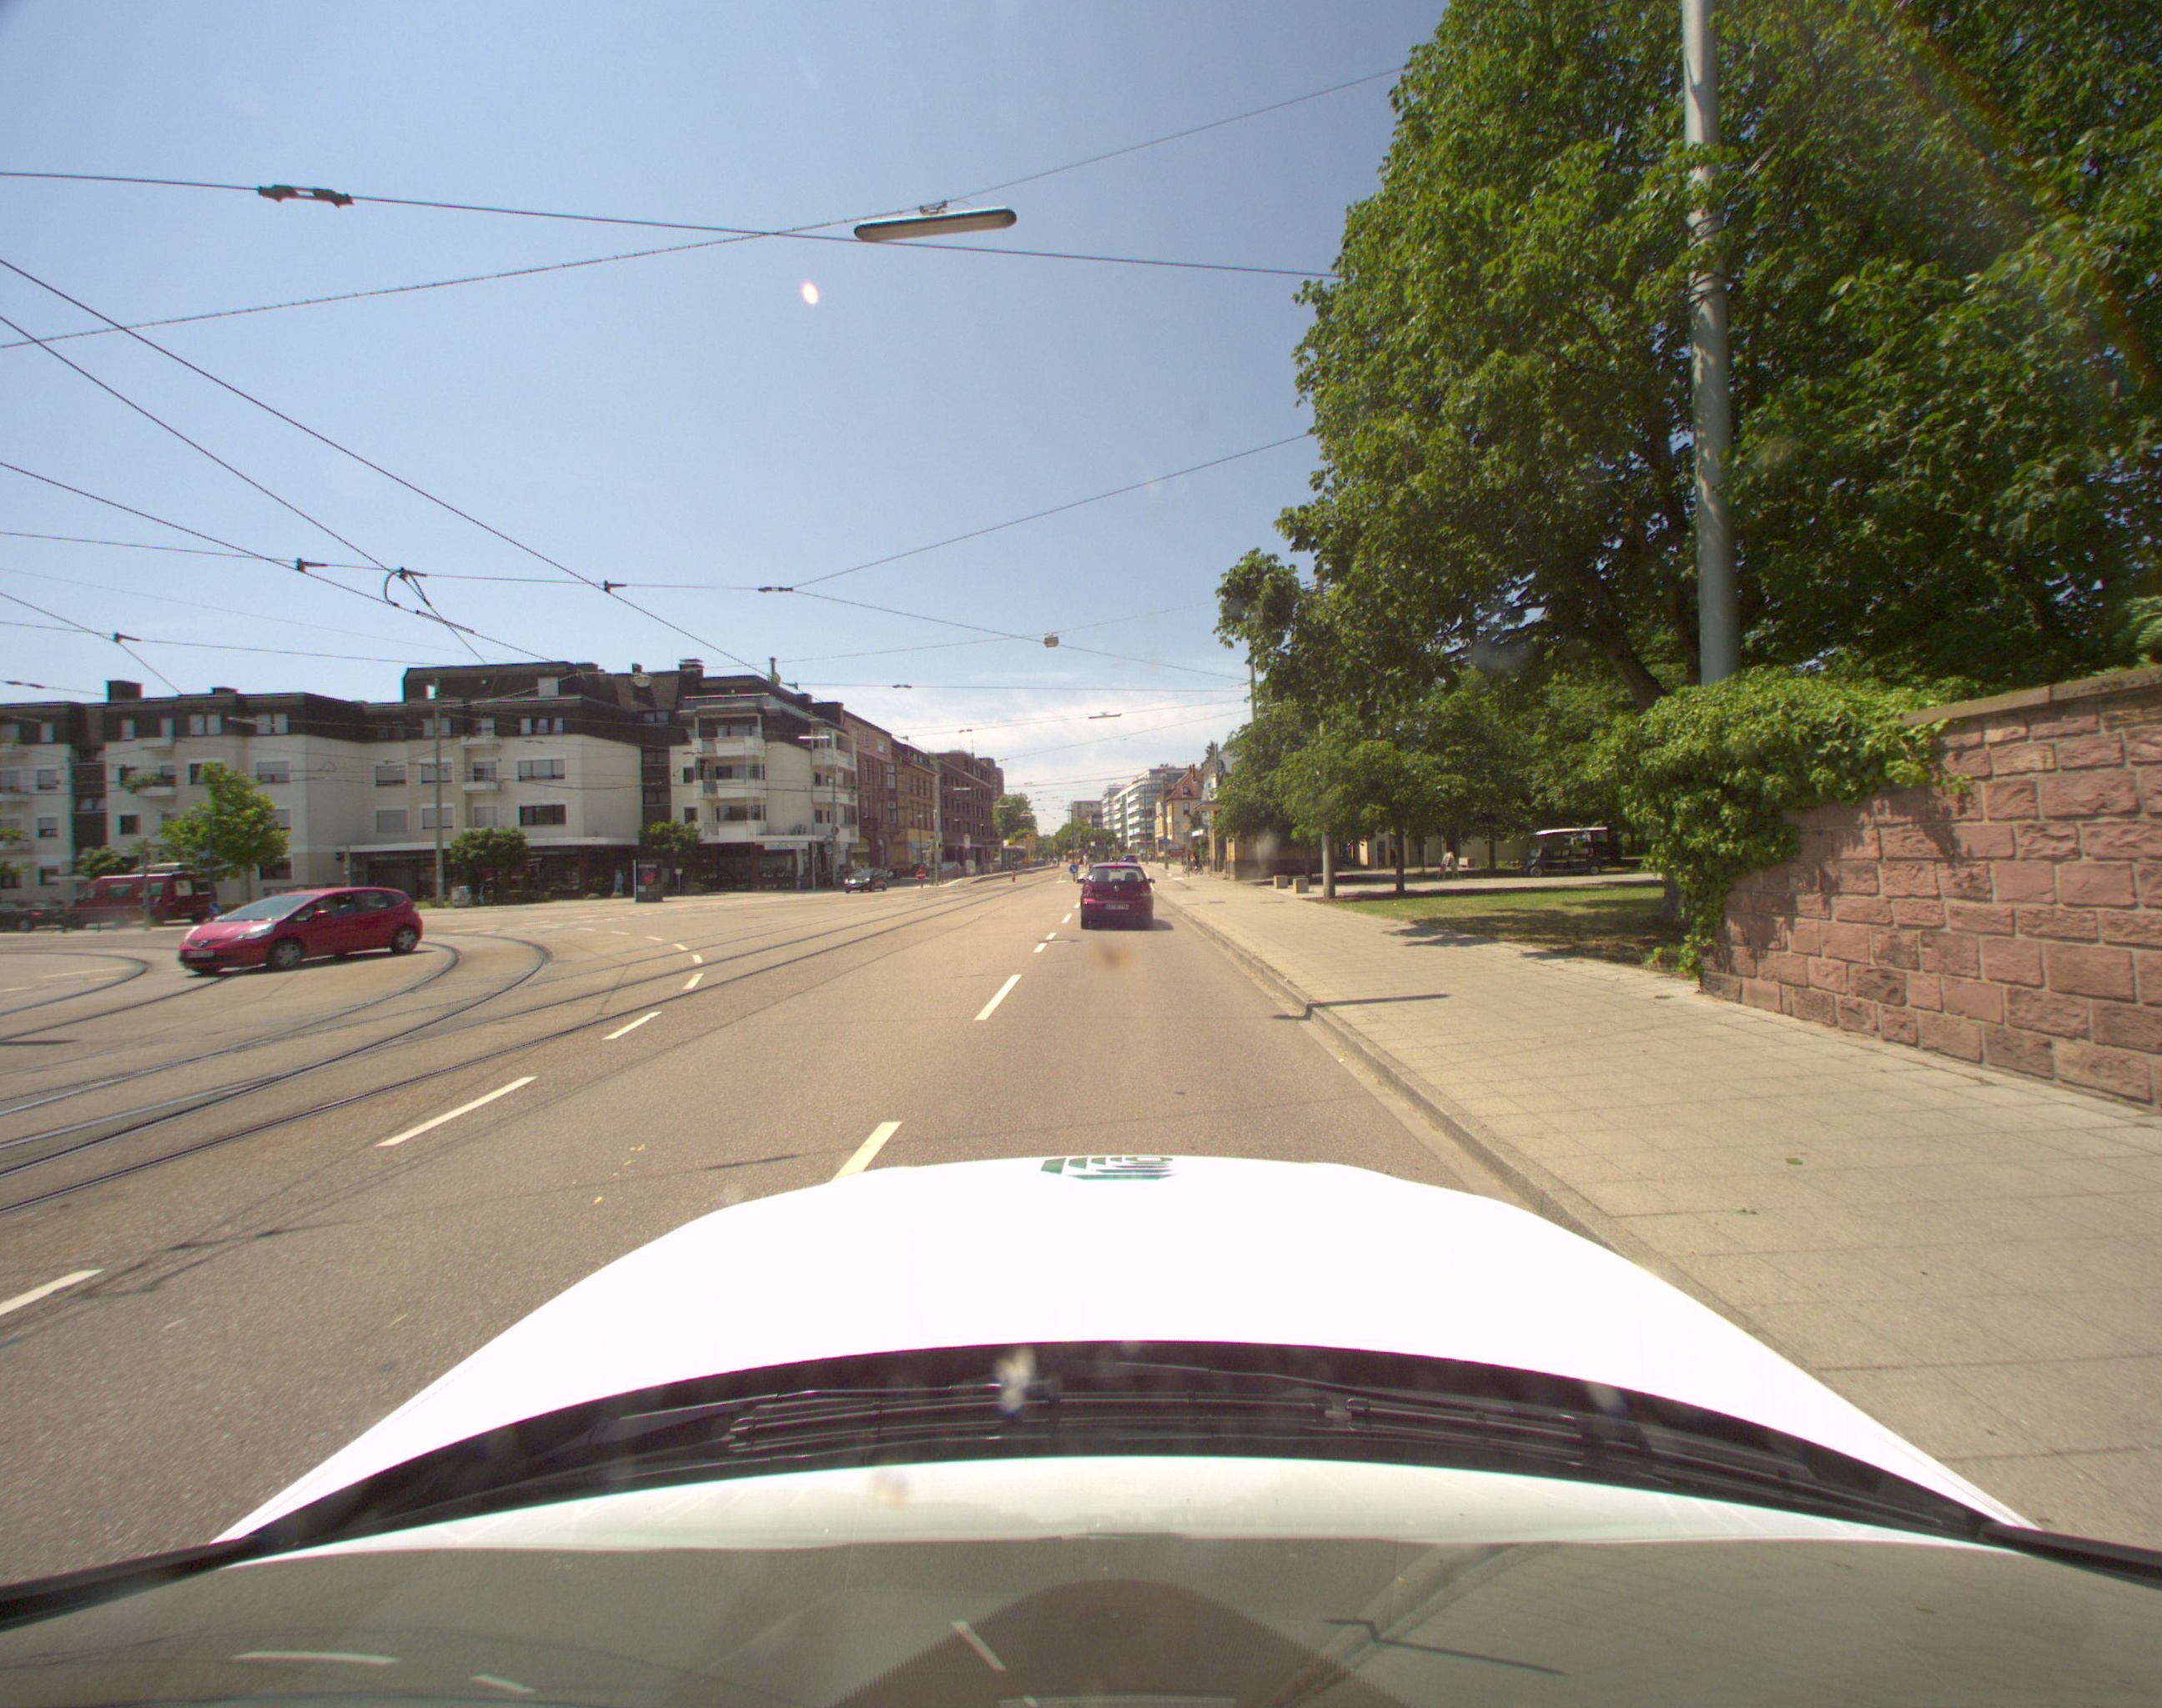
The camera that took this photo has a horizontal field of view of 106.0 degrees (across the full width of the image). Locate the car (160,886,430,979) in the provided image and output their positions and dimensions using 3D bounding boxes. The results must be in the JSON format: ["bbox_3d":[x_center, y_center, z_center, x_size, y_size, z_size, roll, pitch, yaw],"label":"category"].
[{"bbox_3d":[-15.802,1.506,16.699,1.617,1.484,3.833,-2,0,4],"label":"car"}]

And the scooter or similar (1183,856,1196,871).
[{"bbox_3d":[8.961,0.768,67.279,0.340,1.178,1.457,-2,-1,-21],"label":"scooter or similar"}]

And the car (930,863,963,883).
[{"bbox_3d":[-12.264,1.718,74.412,1.785,1.579,4.501,-3,0,5],"label":"car"}]

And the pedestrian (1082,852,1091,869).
[{"bbox_3d":[0.576,0.669,83.022,0.760,1.674,1.101,-2,0,4],"label":"pedestrian"}]

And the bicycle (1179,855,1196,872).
[{"bbox_3d":[8.285,0.747,63.315,0.372,1.197,1.917,-3,0,34],"label":"bicycle"}]

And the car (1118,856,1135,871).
[{"bbox_3d":[5.544,1.162,99.294,1.986,1.624,4.634,-2,0,2],"label":"car"}]

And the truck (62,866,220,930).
[{"bbox_3d":[-44.604,2.036,38.719,5.005,2.698,2.189,-3,0,3],"label":"truck"}]

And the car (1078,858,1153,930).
[{"bbox_3d":[0.802,0.865,18.972,1.555,1.453,3.063,-2,0,2],"label":"car"}]

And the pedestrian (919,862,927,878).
[{"bbox_3d":[-16.022,1.592,82.684,0.612,1.560,0.641,-3,0,2],"label":"pedestrian"}]

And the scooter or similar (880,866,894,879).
[{"bbox_3d":[-18.206,1.727,76.401,0.484,1.082,1.585,-3,0,20],"label":"scooter or similar"}]

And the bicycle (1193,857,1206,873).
[{"bbox_3d":[8.427,0.771,58.047,0.665,1.002,1.865,-6,2,3],"label":"bicycle"}]

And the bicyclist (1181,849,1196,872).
[{"bbox_3d":[8.353,0.481,63.327,0.720,1.760,0.930,-3,0,35],"label":"bicyclist"}]

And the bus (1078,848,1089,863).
[{"bbox_3d":[0.533,0.320,181.074,2.137,3.003,6.576,-2,0,2],"label":"bus"}]

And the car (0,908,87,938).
[{"bbox_3d":[-50.197,3.296,38.913,3.554,1.219,1.592,-3,0,3],"label":"car"}]

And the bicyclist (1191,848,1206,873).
[{"bbox_3d":[8.406,0.450,58.081,0.829,1.618,0.861,-6,2,3],"label":"bicyclist"}]

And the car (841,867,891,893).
[{"bbox_3d":[-13.266,1.566,50.456,1.702,1.438,3.870,-2,0,4],"label":"car"}]

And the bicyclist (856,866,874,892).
[{"bbox_3d":[-15.431,1.793,58.202,0.728,1.762,1.138,-3,0,10],"label":"bicyclist"}]

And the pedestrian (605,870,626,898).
[{"bbox_3d":[-28.754,1.841,50.303,0.695,1.696,0.810,-2,0,9],"label":"pedestrian"}]

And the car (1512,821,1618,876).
[{"bbox_3d":[19.464,-0.190,32.854,3.317,2.014,1.465,-3,-2,3],"label":"car"}]
